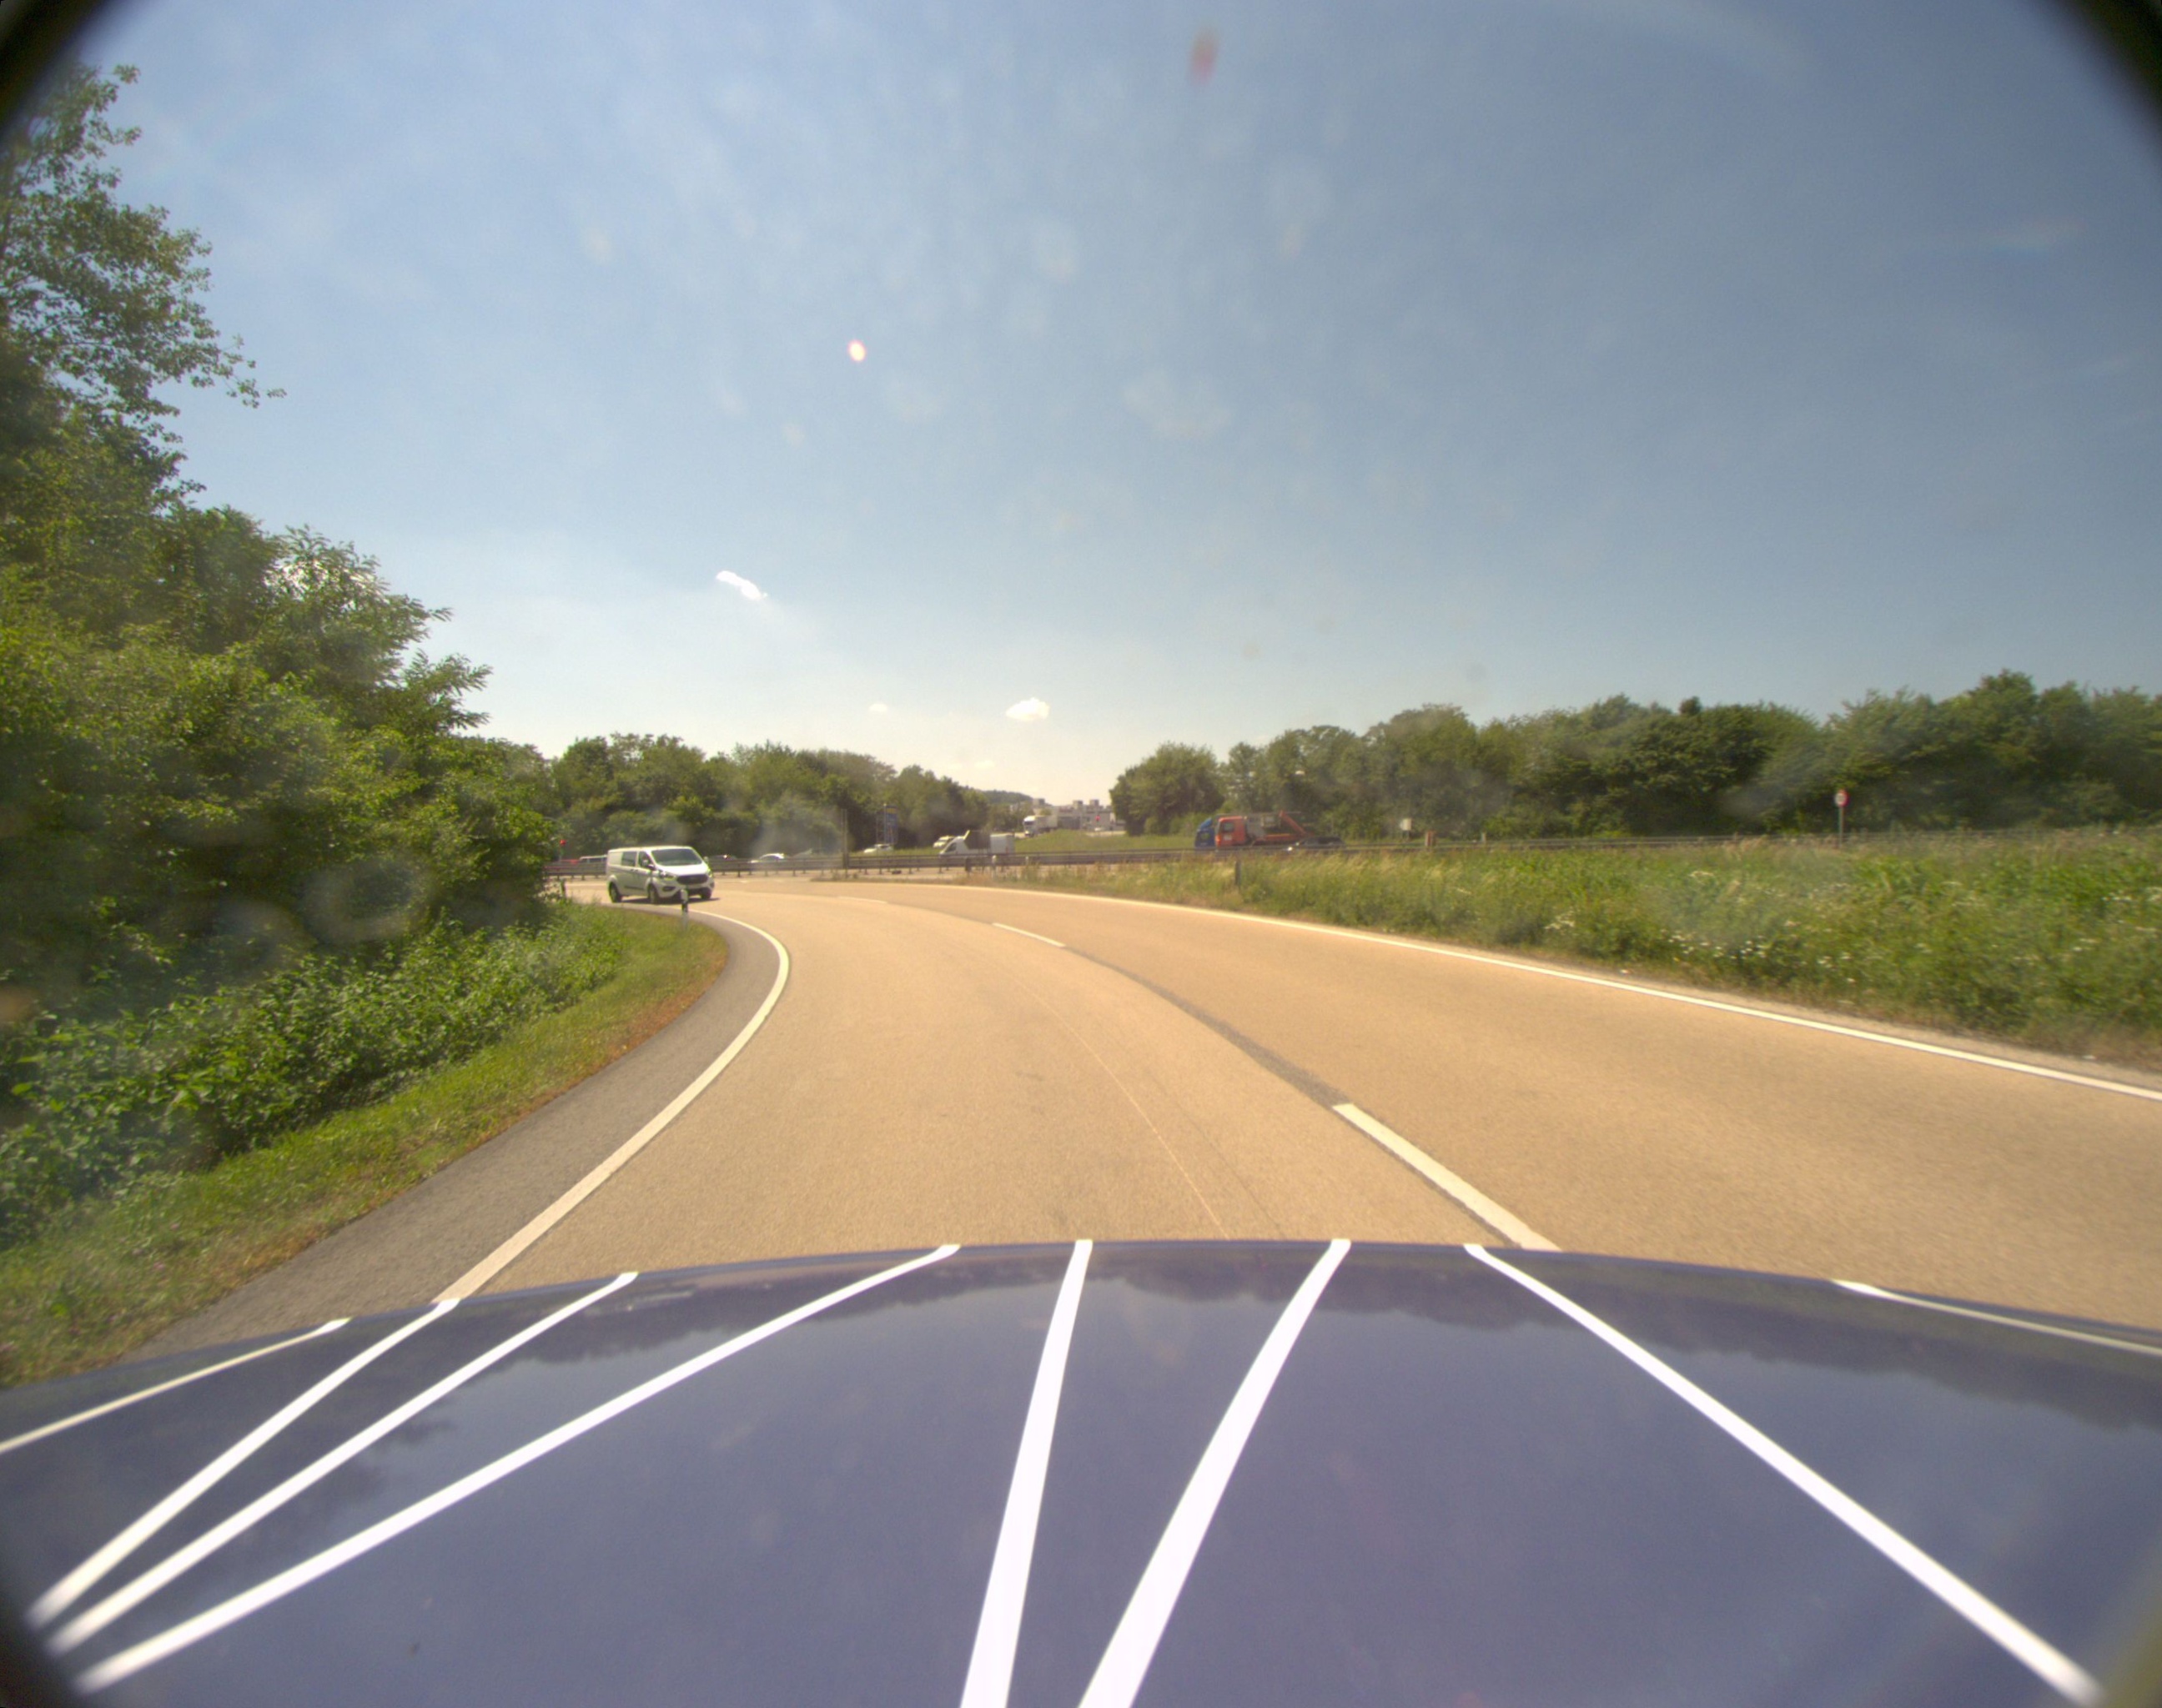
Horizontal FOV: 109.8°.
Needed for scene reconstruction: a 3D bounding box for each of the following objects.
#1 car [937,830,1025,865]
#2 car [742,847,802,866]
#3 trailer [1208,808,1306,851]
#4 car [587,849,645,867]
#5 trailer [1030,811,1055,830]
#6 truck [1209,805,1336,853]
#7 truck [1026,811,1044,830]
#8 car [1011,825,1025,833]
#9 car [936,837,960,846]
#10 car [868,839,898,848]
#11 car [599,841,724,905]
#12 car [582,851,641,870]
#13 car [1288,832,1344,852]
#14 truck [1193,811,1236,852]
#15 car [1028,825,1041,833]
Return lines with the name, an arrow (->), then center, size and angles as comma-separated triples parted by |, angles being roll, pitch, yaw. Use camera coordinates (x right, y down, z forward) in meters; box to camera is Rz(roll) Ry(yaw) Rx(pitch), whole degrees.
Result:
car -> -8.205, -0.548, 62.634 | 6.686, 2.524, 2.165 | -2, 2, 11
car -> -26.769, 0.193, 65.850 | 4.529, 1.476, 1.704 | -2, 2, 10
trailer -> 13.581, -1.854, 58.714 | 7.208, 2.992, 2.307 | -2, 1, 15
car -> -50.477, 0.415, 82.545 | 5.119, 1.631, 2.014 | -2, 1, -25
trailer -> -8.832, -7.653, 175.195 | 2.821, 4.136, 12.258 | -2, 2, 11
truck -> 13.094, -1.714, 52.442 | 8.194, 3.045, 2.604 | -1, 1, 7
truck -> -10.182, -7.447, 168.146 | 2.827, 4.136, 4.002 | -2, 2, 11
car -> -12.146, -4.822, 146.490 | 1.597, 1.424, 3.572 | -2, 1, 11
car -> -20.142, -1.885, 114.957 | 1.529, 1.159, 4.082 | -1, 1, 25
car -> -26.903, -1.399, 103.247 | 1.528, 1.159, 3.882 | -1, 1, 34
car -> -15.373, 0.668, 27.747 | 5.027, 2.003, 2.067 | -1, 4, 39
car -> -37.230, 0.533, 60.262 | 3.916, 1.340, 1.520 | -2, 2, 11
car -> 14.842, -0.739, 48.043 | 3.241, 1.142, 1.233 | -1, 1, 11
truck -> 10.496, -1.732, 59.507 | 3.071, 2.992, 2.318 | -2, 1, 15
car -> -9.434, -5.045, 154.500 | 1.597, 1.424, 3.573 | -2, 1, 11
